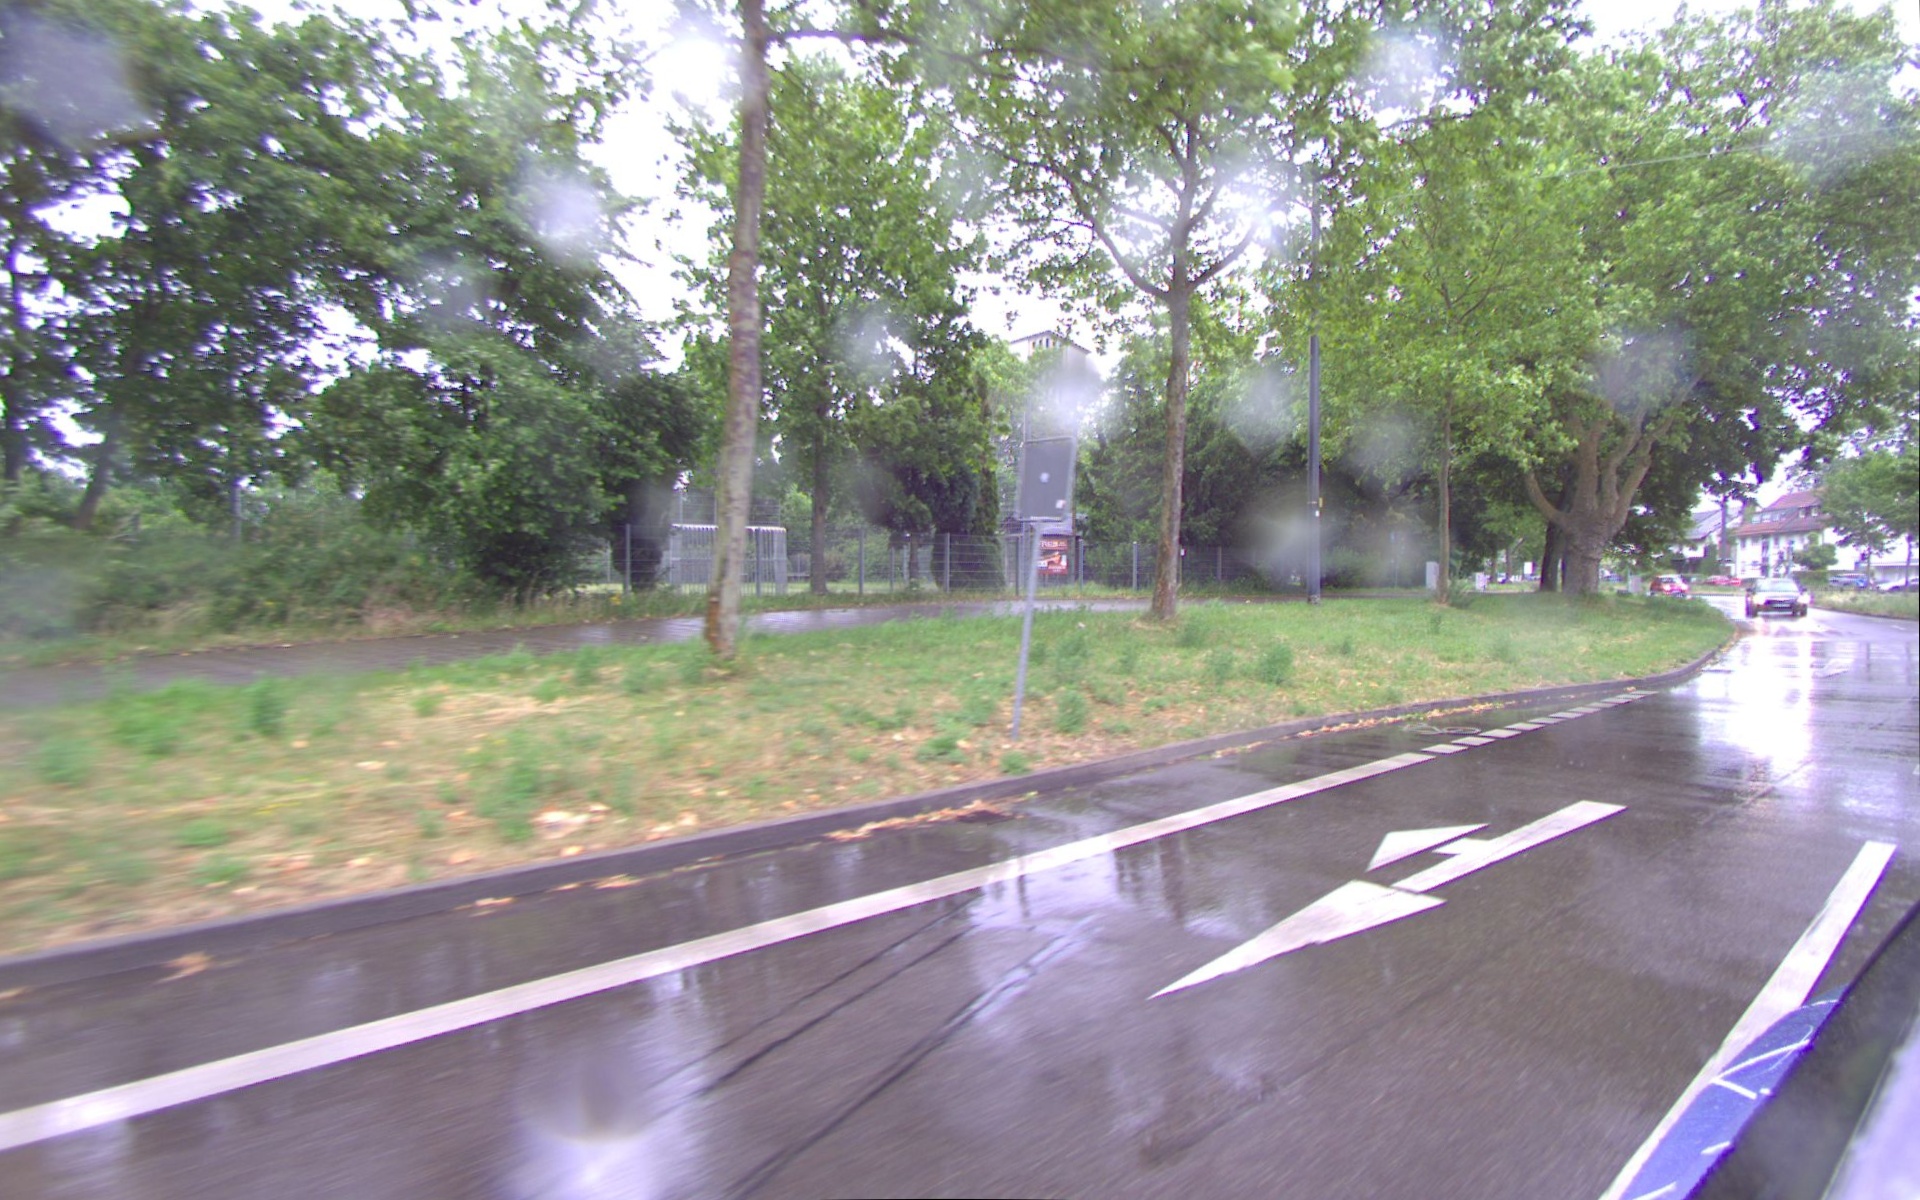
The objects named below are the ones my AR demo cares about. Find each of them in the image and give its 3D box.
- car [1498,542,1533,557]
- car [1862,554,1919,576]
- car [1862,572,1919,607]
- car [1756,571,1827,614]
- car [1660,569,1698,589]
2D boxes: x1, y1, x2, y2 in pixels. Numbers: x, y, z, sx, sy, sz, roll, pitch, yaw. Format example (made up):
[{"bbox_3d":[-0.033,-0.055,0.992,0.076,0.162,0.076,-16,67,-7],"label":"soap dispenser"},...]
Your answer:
[{"bbox_3d":[74.887,-6.834,136.454,3.957,1.850,1.984,-1,1,25],"label":"car"},{"bbox_3d":[85.093,-3.186,92.111,3.941,1.824,1.885,-1,0,14],"label":"car"},{"bbox_3d":[40.315,-0.455,42.125,4.024,1.438,1.652,0,1,39],"label":"car"},{"bbox_3d":[33.429,-0.319,40.770,1.861,1.638,3.762,0,1,35],"label":"car"},{"bbox_3d":[52.070,-1.547,73.376,1.773,1.398,3.826,-1,1,28],"label":"car"}]
